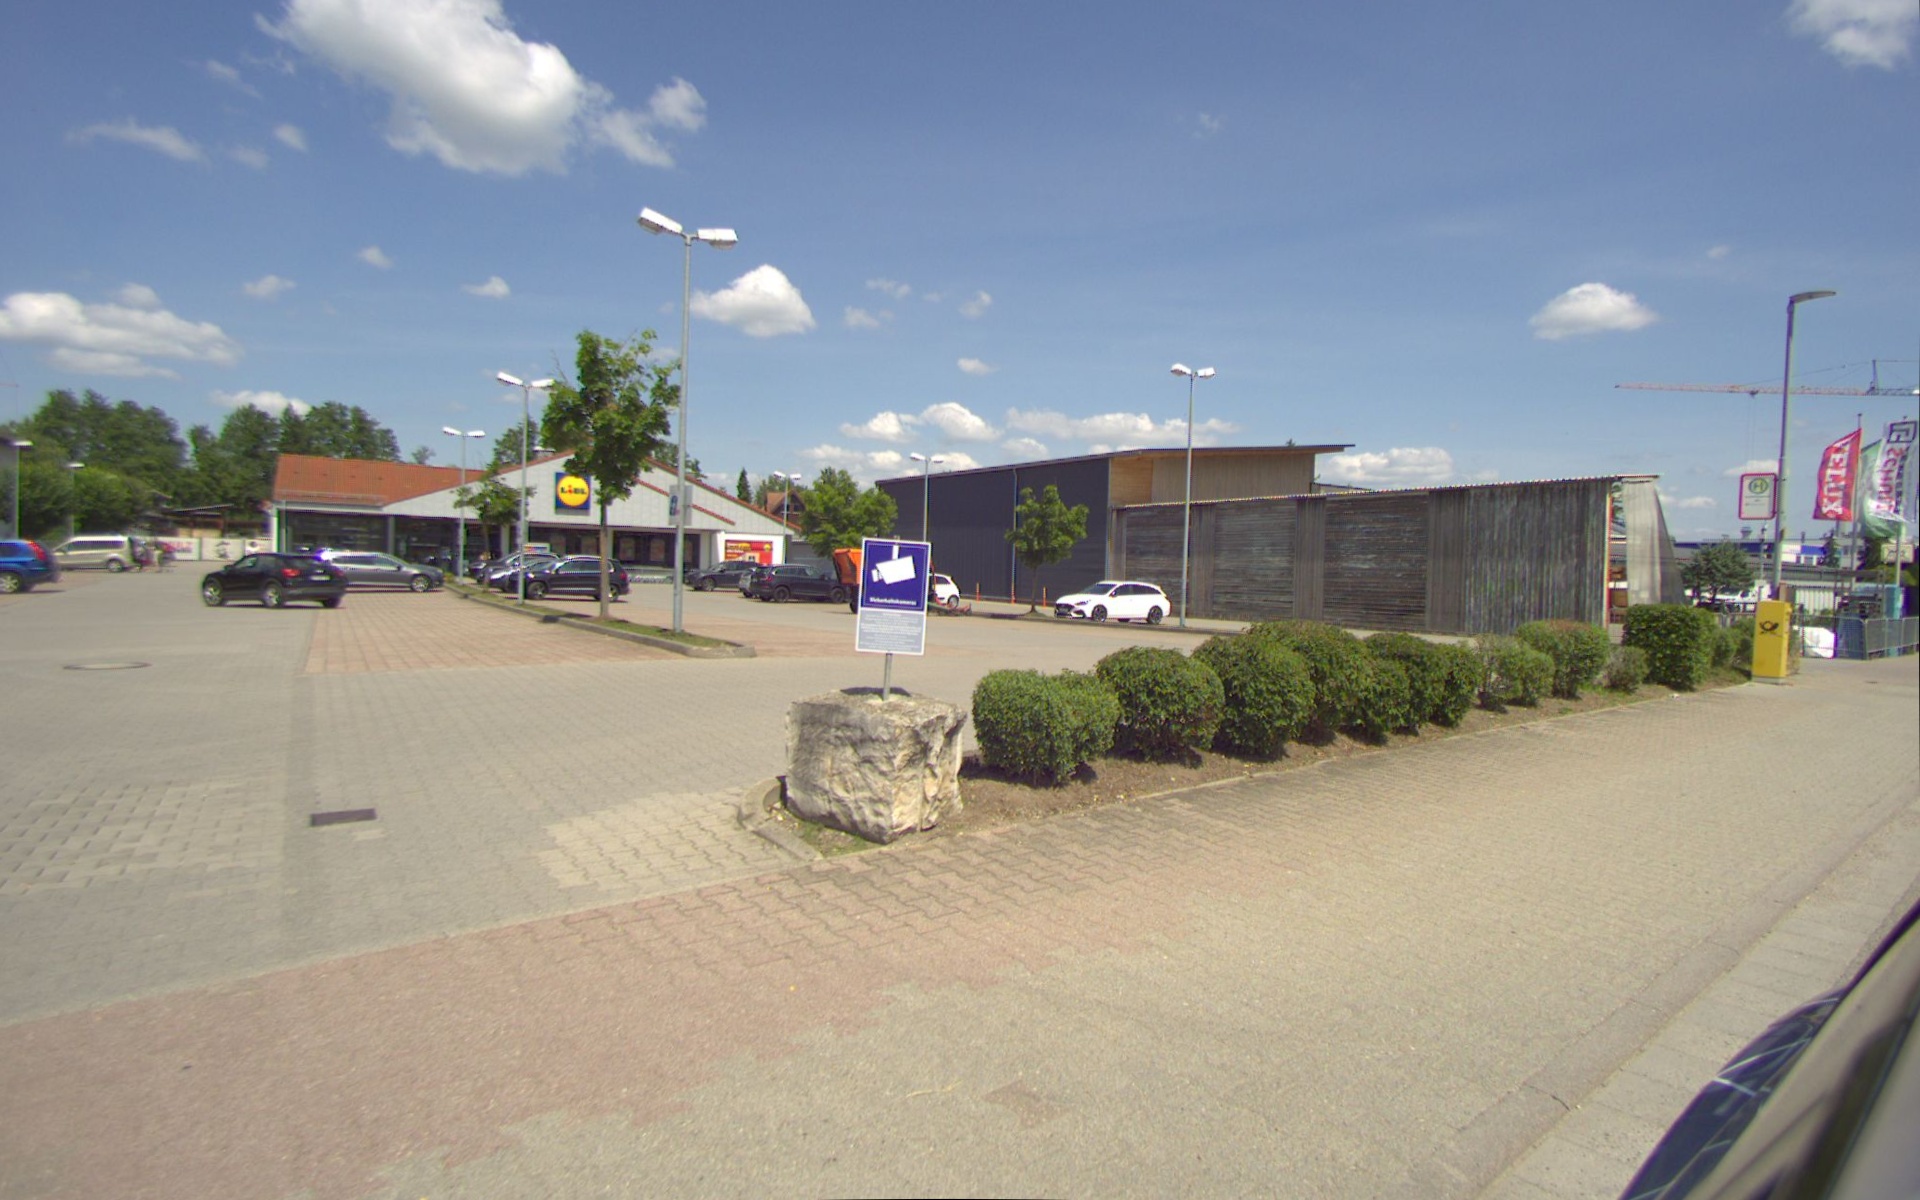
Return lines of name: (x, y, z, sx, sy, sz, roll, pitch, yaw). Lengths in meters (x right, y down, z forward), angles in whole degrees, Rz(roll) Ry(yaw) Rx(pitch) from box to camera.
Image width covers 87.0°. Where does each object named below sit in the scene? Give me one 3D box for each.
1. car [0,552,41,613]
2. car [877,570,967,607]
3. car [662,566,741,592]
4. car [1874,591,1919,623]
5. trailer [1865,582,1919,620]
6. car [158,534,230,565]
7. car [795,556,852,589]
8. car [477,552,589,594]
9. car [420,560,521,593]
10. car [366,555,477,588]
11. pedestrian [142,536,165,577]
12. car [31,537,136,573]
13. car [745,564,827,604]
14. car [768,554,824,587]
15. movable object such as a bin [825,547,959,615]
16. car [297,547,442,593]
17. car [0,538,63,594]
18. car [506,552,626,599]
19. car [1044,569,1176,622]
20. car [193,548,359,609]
car: (-24.192, -0.432, 23.751, 3.673, 1.443, 1.592, 0, 1, -34)
car: (-1.703, -0.517, 46.035, 3.926, 1.593, 1.584, 0, 1, -38)
car: (-13.506, -1.099, 52.846, 3.710, 1.187, 1.618, 1, 2, -26)
car: (55.001, 0.438, 57.618, 1.771, 1.653, 4.218, -3, 5, -43)
trailer: (56.300, 0.090, 59.831, 1.965, 2.040, 3.992, 8, -5, -42)
car: (-53.461, -3.506, 70.652, 3.927, 2.039, 1.999, 0, 1, -38)
car: (-7.008, -1.394, 51.953, 2.622, 1.586, 1.226, 0, 2, -37)
car: (-17.429, -1.090, 41.407, 3.927, 1.613, 1.584, 0, 1, -38)
car: (-22.584, -1.071, 46.777, 3.930, 1.428, 1.583, 0, 1, -41)
car: (-22.898, -1.203, 43.087, 3.930, 1.325, 1.583, 0, 2, -41)
pedestrian: (-42.308, -2.263, 53.066, 0.897, 2.132, 0.870, 1, 1, -41)
car: (-44.679, -2.315, 51.707, 3.909, 1.789, 1.819, -2, 4, -38)
car: (-7.640, -0.746, 44.464, 3.273, 1.632, 1.514, -2, 4, -28)
car: (-8.864, -1.611, 54.704, 2.651, 1.708, 1.301, 0, 3, -30)
movable object such as a bin: (-2.407, -0.673, 36.210, 4.429, 2.231, 1.688, 1, 2, -28)
car: (-22.040, -1.098, 37.850, 4.532, 1.613, 1.585, 0, 1, -37)
car: (-31.174, -1.081, 32.013, 3.911, 1.729, 1.896, -2, 4, -34)
car: (-14.519, -0.890, 37.367, 3.920, 1.651, 1.587, 1, 1, -31)
car: (5.274, -0.158, 35.428, 4.352, 1.683, 2.001, 2, 1, -34)
car: (-18.929, -0.610, 28.037, 3.954, 1.513, 1.985, 2, 1, 23)
